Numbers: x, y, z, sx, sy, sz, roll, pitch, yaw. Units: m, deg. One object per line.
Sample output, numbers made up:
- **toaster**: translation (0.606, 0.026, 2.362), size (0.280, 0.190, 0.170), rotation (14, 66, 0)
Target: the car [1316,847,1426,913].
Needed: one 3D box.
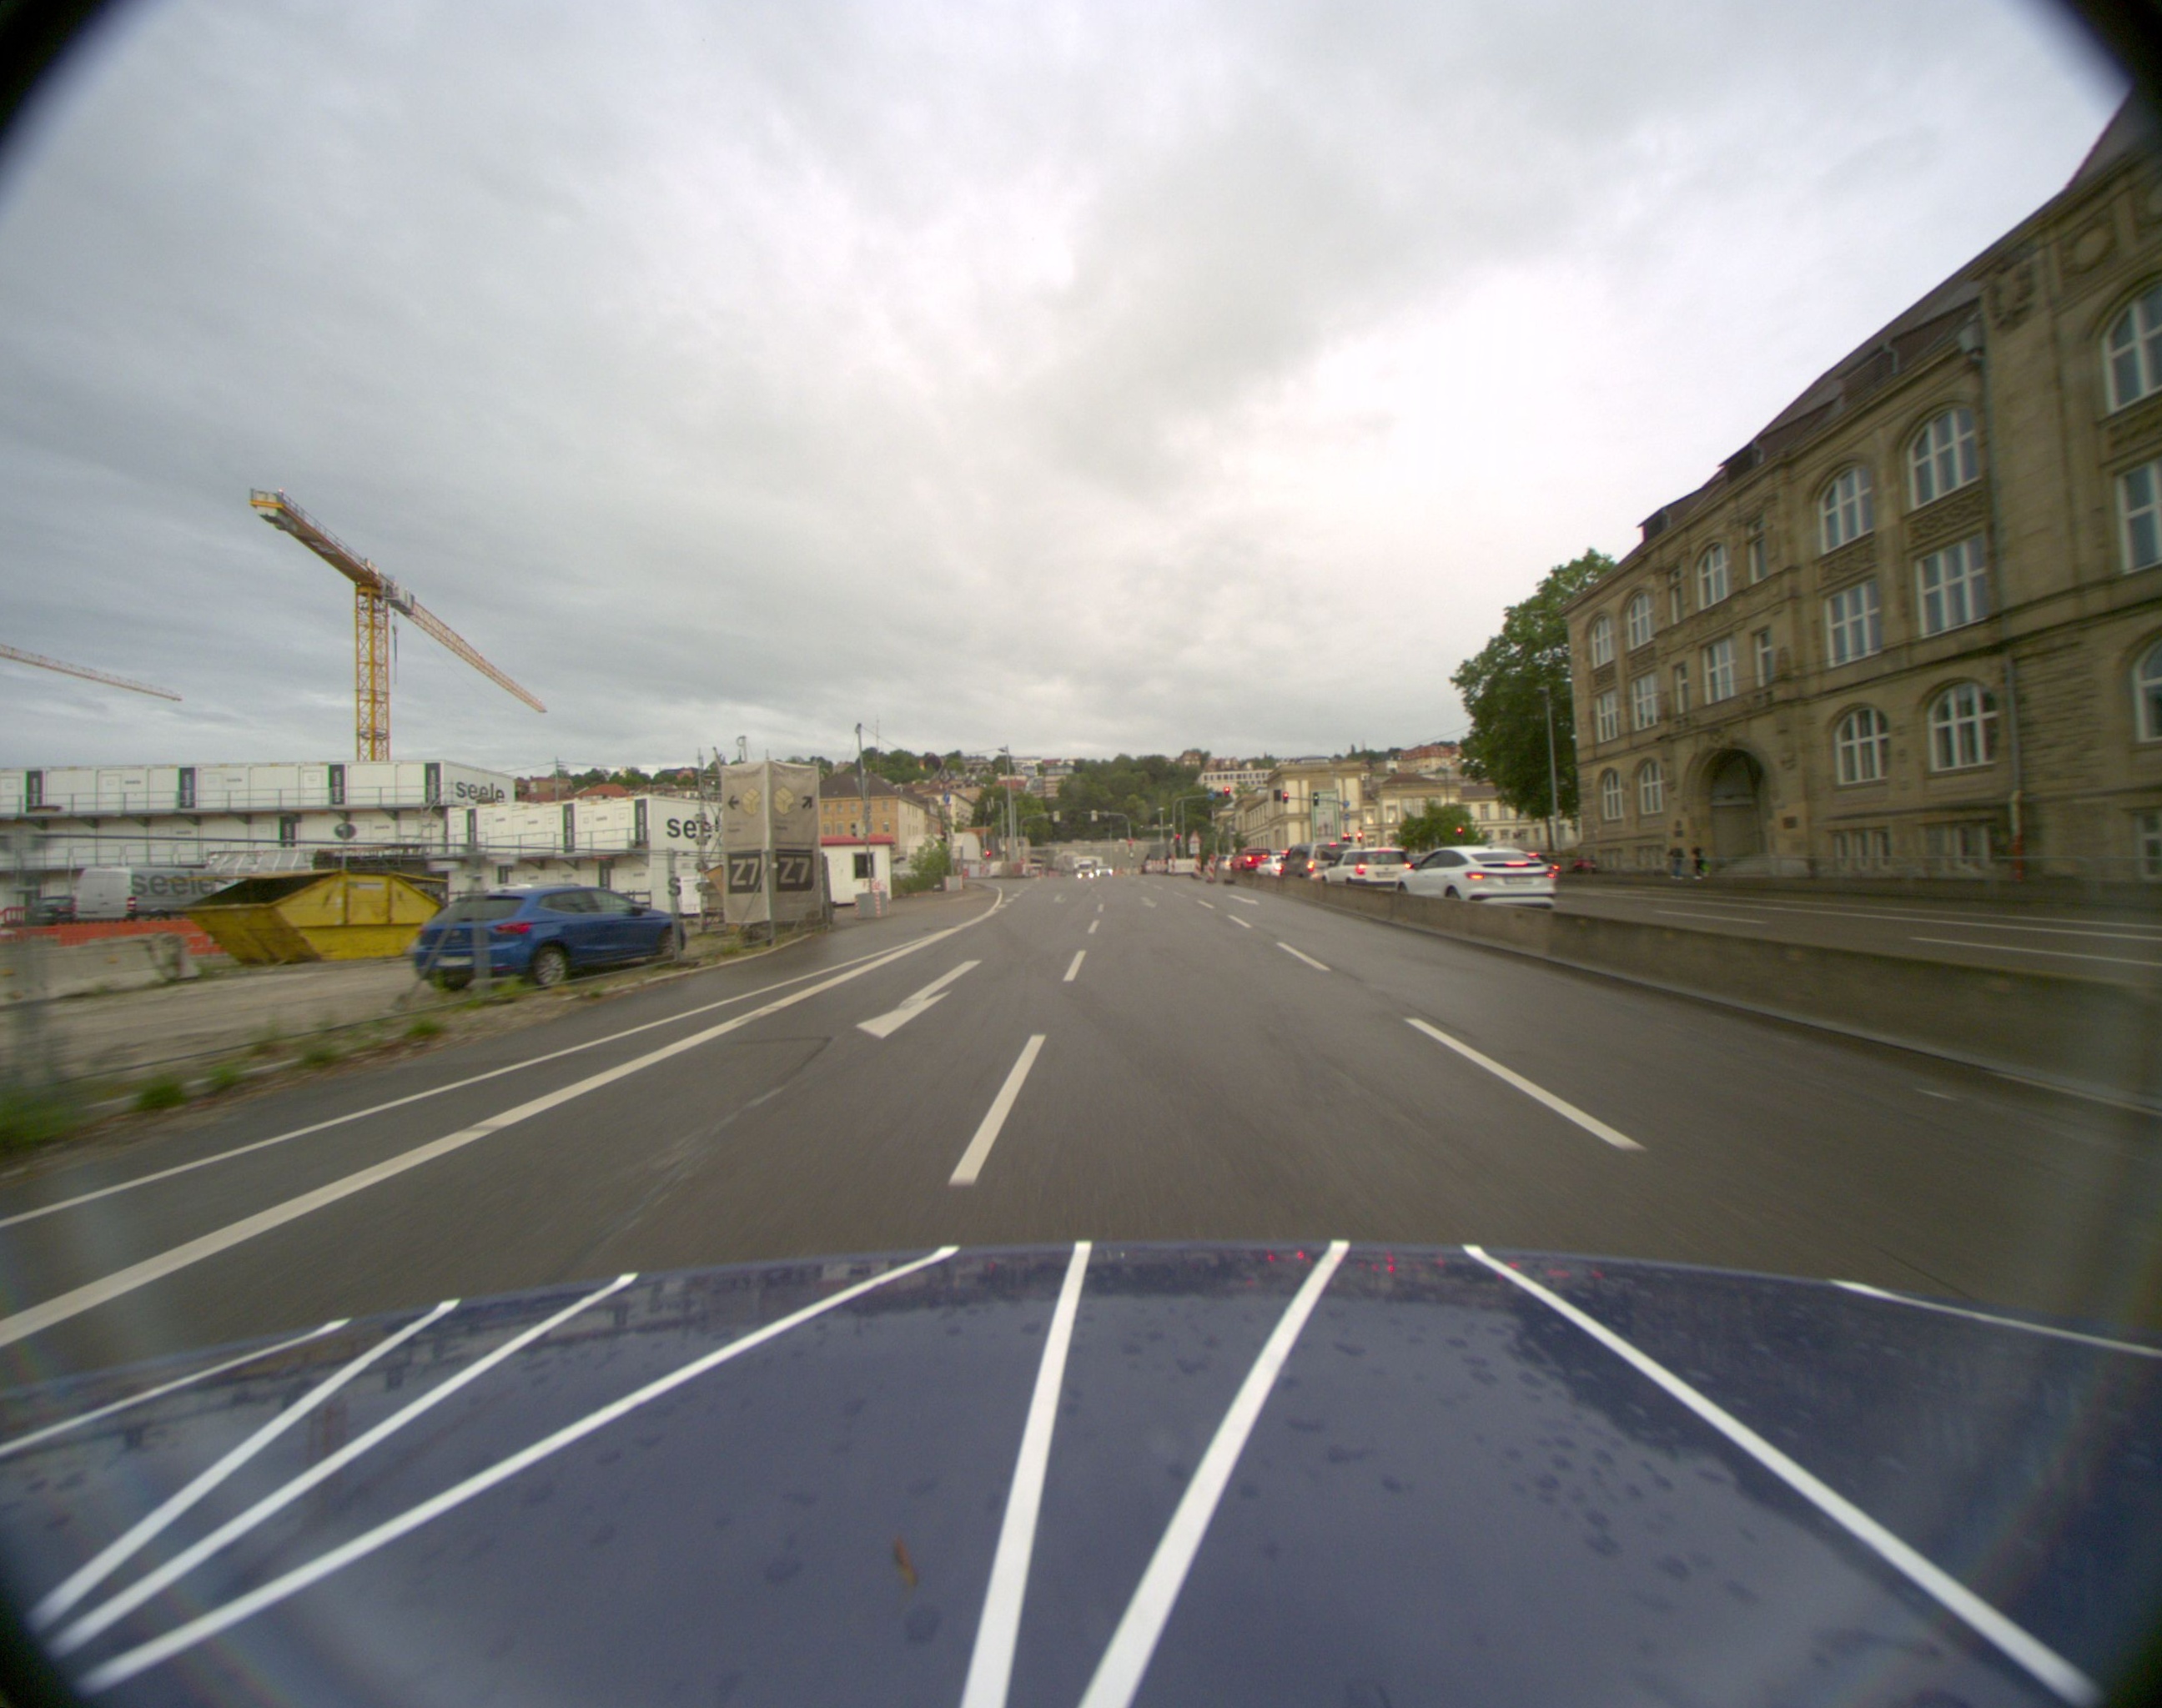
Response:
- **car**: translation (8.895, 0.735, 23.727), size (1.913, 1.855, 4.379), rotation (0, 0, 2)

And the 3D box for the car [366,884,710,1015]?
- **car**: translation (-8.109, 1.328, 12.005), size (1.836, 1.432, 4.415), rotation (-4, 0, 7)

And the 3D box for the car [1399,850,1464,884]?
- **car**: translation (21.890, 0.768, 47.634), size (1.999, 2.002, 3.998), rotation (0, 0, -4)

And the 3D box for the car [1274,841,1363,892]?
- **car**: translation (9.343, 0.449, 30.362), size (1.998, 1.855, 5.596), rotation (0, 0, 2)

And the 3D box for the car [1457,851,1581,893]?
- **car**: translation (15.630, 0.605, 27.401), size (1.999, 1.374, 4.211), rotation (0, 0, -2)

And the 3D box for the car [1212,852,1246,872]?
- **car**: translation (11.282, 0.609, 58.121), size (1.998, 1.462, 4.347), rotation (0, 0, 3)

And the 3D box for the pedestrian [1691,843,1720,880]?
- **pedestrian**: translation (26.826, 0.328, 32.651), size (0.618, 1.575, 0.734), rotation (0, 0, -3)

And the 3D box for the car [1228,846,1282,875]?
- **car**: translation (9.923, 0.332, 43.810), size (1.998, 1.558, 5.382), rotation (0, 0, 1)

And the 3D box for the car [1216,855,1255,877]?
- **car**: translation (10.715, 0.792, 52.831), size (1.998, 1.462, 4.562), rotation (0, 0, 3)

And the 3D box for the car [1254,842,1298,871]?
- **car**: translation (12.836, 0.160, 50.308), size (1.998, 1.784, 4.616), rotation (0, 0, 3)

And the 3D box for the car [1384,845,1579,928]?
- **car**: translation (8.560, 0.622, 16.848), size (1.898, 1.558, 4.899), rotation (0, 0, 2)

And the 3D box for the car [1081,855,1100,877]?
- **car**: translation (1.864, 2.223, 143.245), size (2.835, 3.990, 8.728), rotation (0, 0, 5)

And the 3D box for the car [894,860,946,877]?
- **car**: translation (-14.456, 1.261, 68.270), size (4.562, 1.462, 1.998), rotation (0, 0, -13)

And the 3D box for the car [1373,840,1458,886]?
- **car**: translation (15.397, 0.403, 35.237), size (1.999, 2.002, 3.998), rotation (0, 0, -4)

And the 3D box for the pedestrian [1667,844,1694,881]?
- **pedestrian**: translation (25.900, 0.360, 32.843), size (0.618, 1.575, 0.735), rotation (0, 0, 4)

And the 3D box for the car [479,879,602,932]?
- **car**: translation (-22.104, 2.045, 31.343), size (2.019, 1.890, 4.652), rotation (0, -1, -5)

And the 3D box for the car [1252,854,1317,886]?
- **car**: translation (9.930, 0.735, 37.474), size (1.998, 1.493, 4.822), rotation (0, 0, 1)

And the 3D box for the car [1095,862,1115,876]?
- **car**: translation (2.769, 1.687, 88.020), size (1.999, 1.561, 3.999), rotation (0, 0, -3)

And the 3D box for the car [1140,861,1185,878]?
- **car**: translation (7.964, 1.465, 74.440), size (4.110, 1.608, 1.887), rotation (0, 0, -3)

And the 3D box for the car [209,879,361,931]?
- **car**: translation (-34.136, 2.121, 32.840), size (2.000, 1.876, 4.978), rotation (1, 0, -11)

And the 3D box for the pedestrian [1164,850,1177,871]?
- **pedestrian**: translation (7.250, 0.529, 61.860), size (0.785, 1.700, 0.761), rotation (-1, 1, -20)

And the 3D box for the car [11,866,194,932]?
- **car**: translation (-41.810, 1.840, 32.711), size (2.000, 2.545, 4.978), rotation (1, 0, -11)

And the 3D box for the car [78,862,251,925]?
- **car**: translation (-39.270, 1.597, 32.803), size (2.000, 2.427, 4.978), rotation (0, 0, -11)
